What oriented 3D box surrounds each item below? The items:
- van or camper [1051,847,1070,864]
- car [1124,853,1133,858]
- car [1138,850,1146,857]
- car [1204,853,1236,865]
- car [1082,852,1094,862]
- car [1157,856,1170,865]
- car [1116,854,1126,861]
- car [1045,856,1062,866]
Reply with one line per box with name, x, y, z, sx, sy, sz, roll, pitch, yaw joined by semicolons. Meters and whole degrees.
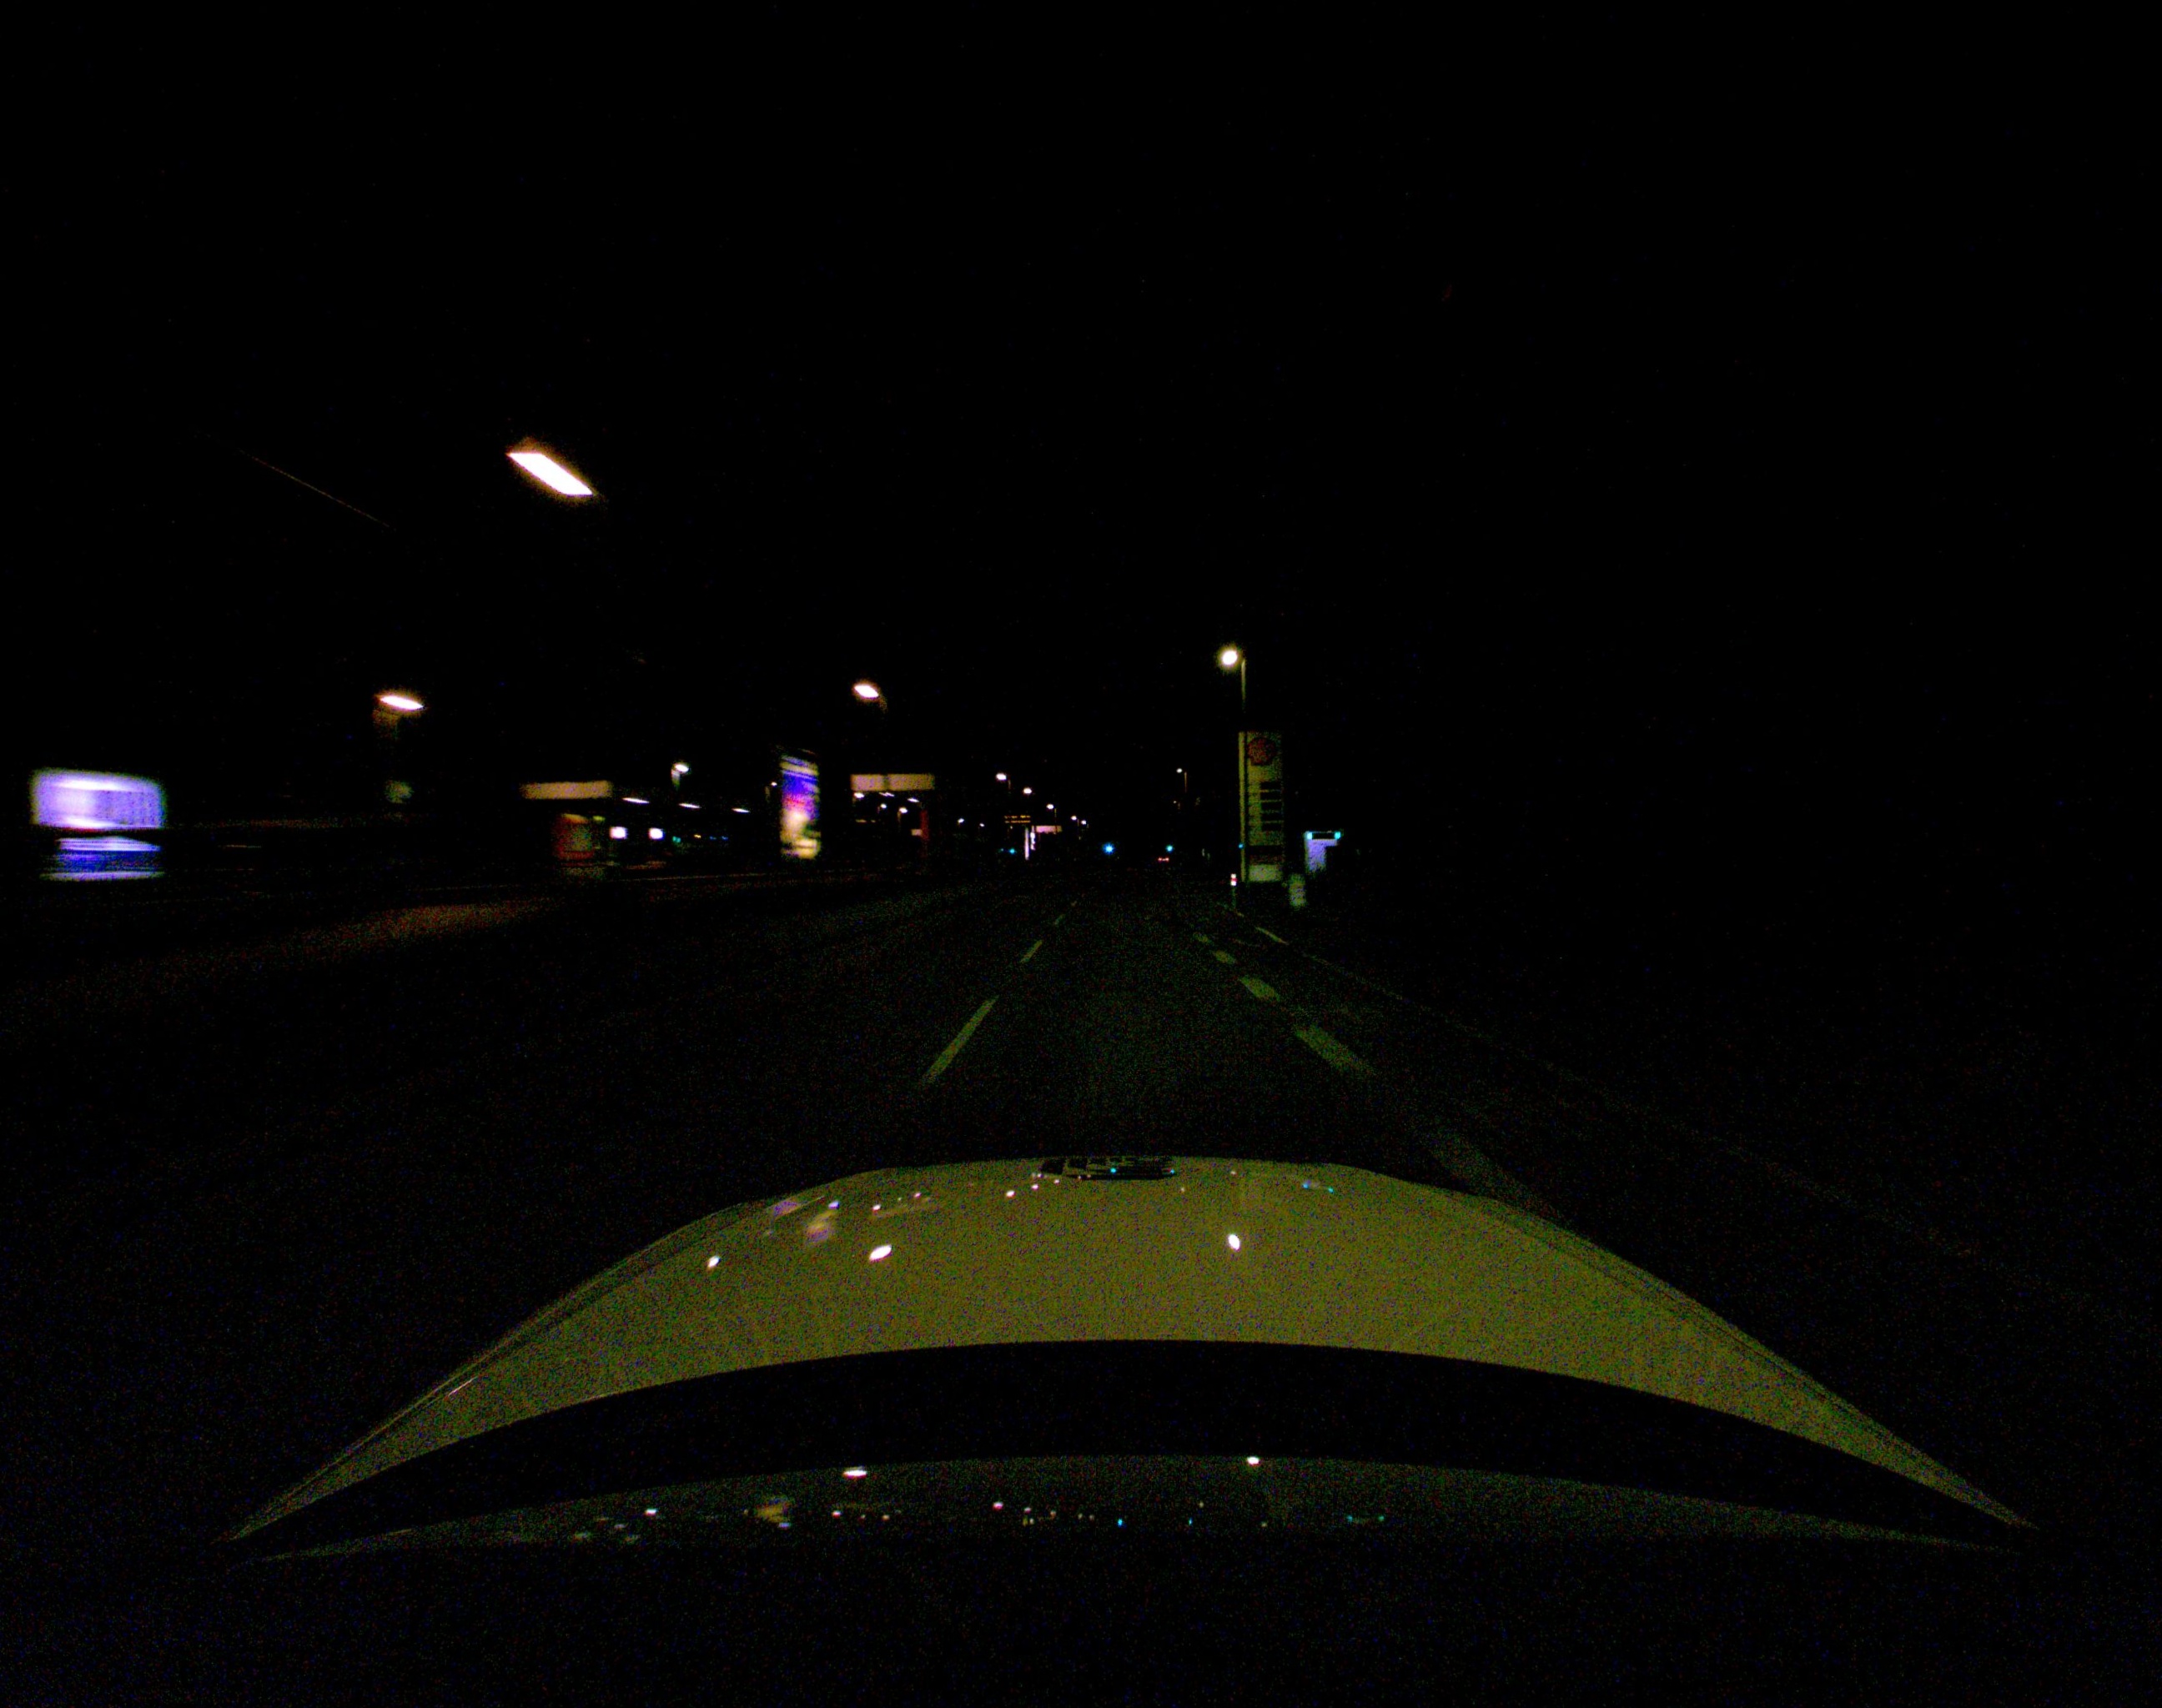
van or camper;-3.352;0.255;133.783;2.261;2.647;5.673;-3;0;6
car;13.249;0.393;227.733;1.981;1.338;5.446;-1;0;9
car;19.309;-0.065;257.726;2.079;2.013;4.011;-5;0;9
car;16.474;0.539;96.659;3.744;1.354;1.863;-1;0;7
car;1.451;0.623;160.501;1.847;1.904;4.890;-1;0;7
car;15.325;1.145;150.784;2.150;1.583;4.022;0;0;7
car;10.267;0.893;208.319;1.981;1.628;4.690;-1;0;9
car;-4.265;1.024;127.399;1.636;1.339;4.554;-5;-1;9
